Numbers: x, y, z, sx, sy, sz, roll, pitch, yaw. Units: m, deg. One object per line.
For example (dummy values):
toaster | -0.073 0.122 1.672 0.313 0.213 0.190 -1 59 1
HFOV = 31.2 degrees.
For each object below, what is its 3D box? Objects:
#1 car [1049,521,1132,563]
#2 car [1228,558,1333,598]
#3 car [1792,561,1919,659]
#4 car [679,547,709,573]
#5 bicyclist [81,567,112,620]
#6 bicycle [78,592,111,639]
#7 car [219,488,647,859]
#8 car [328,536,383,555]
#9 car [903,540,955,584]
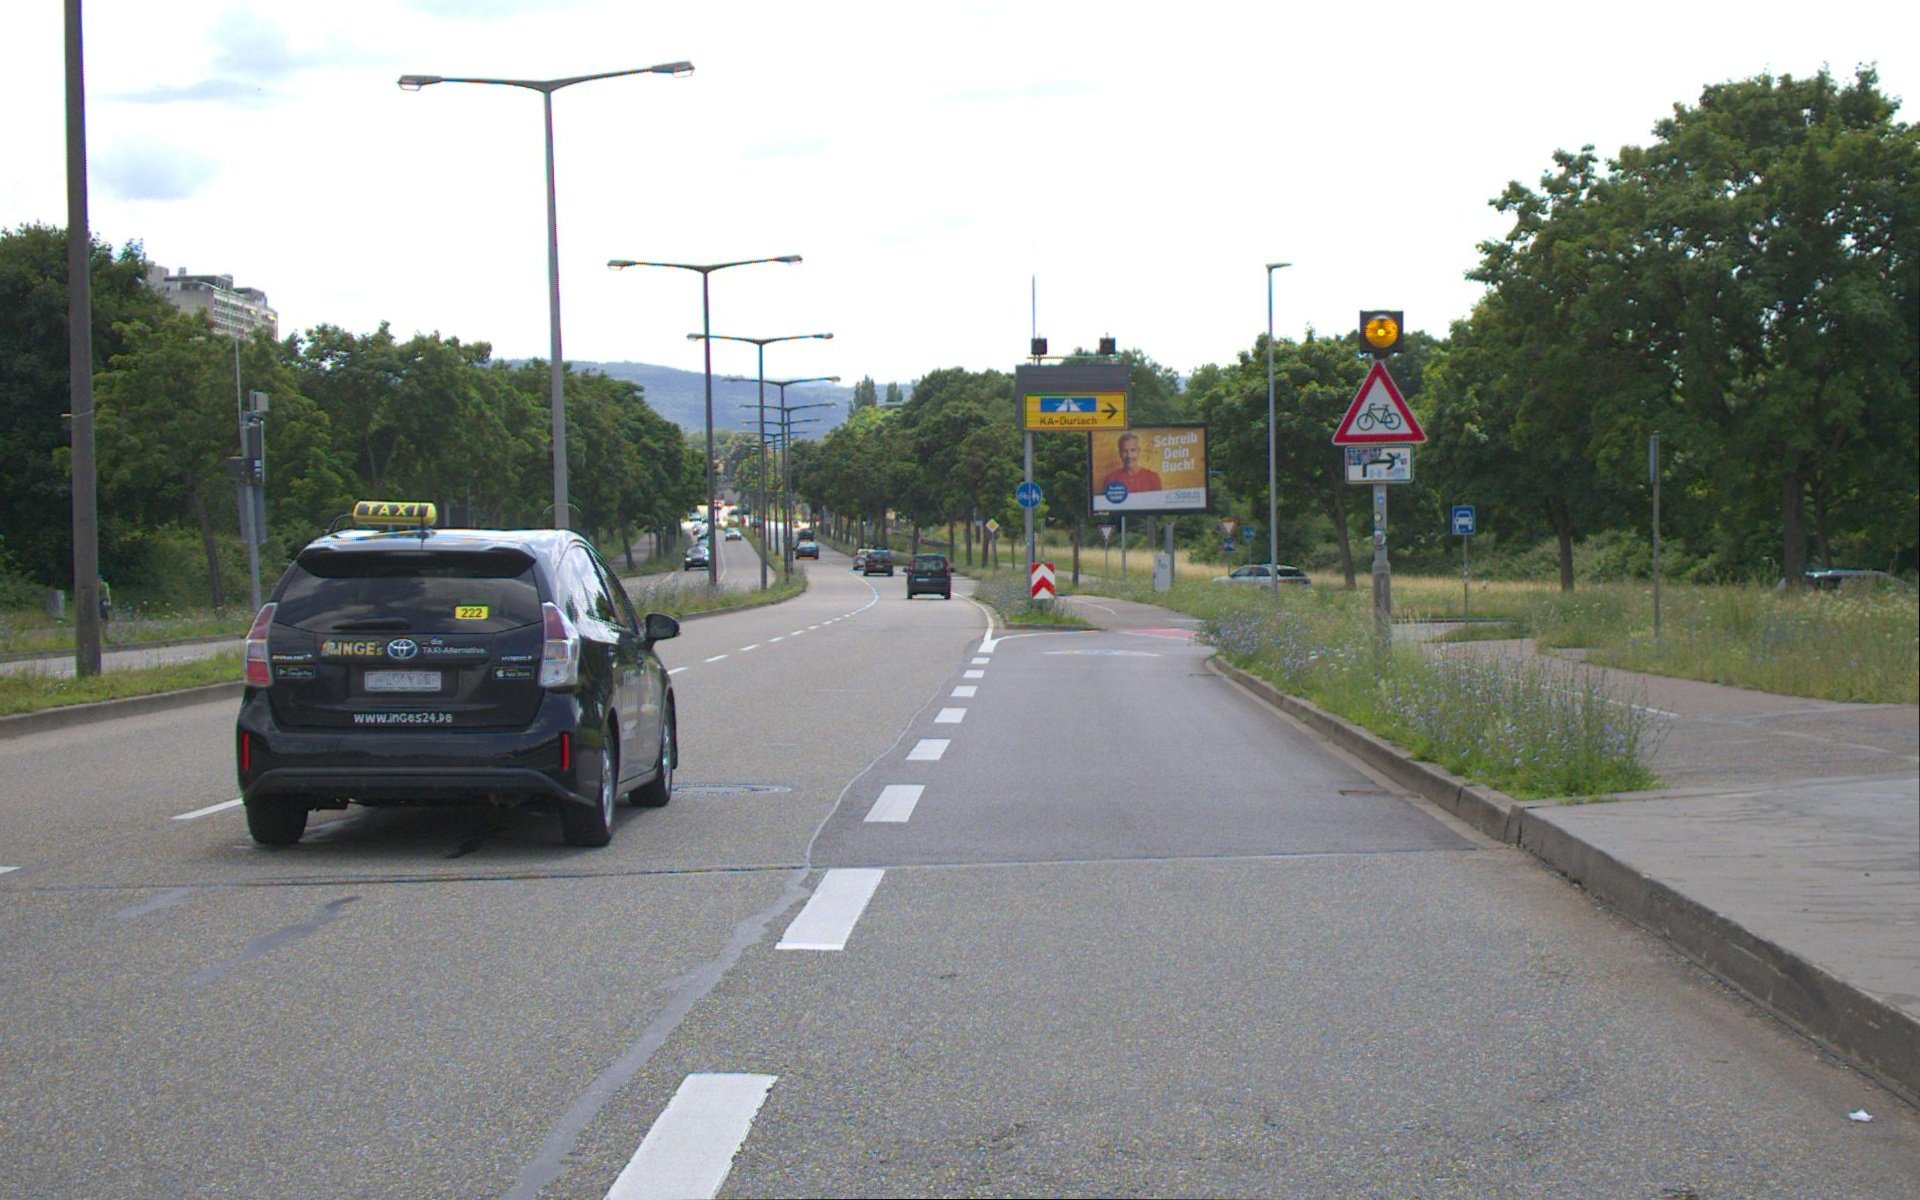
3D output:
car | 5.402 -2.416 142.473 1.993 1.656 4.001 0 2 -21
car | 12.757 -0.890 137.105 1.994 1.503 3.999 -1 2 -37
car | 17.210 0.179 61.614 3.986 1.656 2.001 0 2 -9
car | -19.316 -2.897 249.781 1.876 1.784 4.729 -3 1 -2
bicyclist | -21.407 -0.164 85.209 0.520 1.268 1.107 1 2 -3
bicycle | -21.454 0.379 85.252 0.431 1.064 1.908 1 2 -3
car | -2.603 0.278 17.793 1.779 1.678 4.001 1 2 -3
car | -44.695 -4.031 254.207 3.785 1.383 1.786 1 2 1
car | -1.272 -1.564 139.857 1.993 1.656 4.001 1 2 -2
